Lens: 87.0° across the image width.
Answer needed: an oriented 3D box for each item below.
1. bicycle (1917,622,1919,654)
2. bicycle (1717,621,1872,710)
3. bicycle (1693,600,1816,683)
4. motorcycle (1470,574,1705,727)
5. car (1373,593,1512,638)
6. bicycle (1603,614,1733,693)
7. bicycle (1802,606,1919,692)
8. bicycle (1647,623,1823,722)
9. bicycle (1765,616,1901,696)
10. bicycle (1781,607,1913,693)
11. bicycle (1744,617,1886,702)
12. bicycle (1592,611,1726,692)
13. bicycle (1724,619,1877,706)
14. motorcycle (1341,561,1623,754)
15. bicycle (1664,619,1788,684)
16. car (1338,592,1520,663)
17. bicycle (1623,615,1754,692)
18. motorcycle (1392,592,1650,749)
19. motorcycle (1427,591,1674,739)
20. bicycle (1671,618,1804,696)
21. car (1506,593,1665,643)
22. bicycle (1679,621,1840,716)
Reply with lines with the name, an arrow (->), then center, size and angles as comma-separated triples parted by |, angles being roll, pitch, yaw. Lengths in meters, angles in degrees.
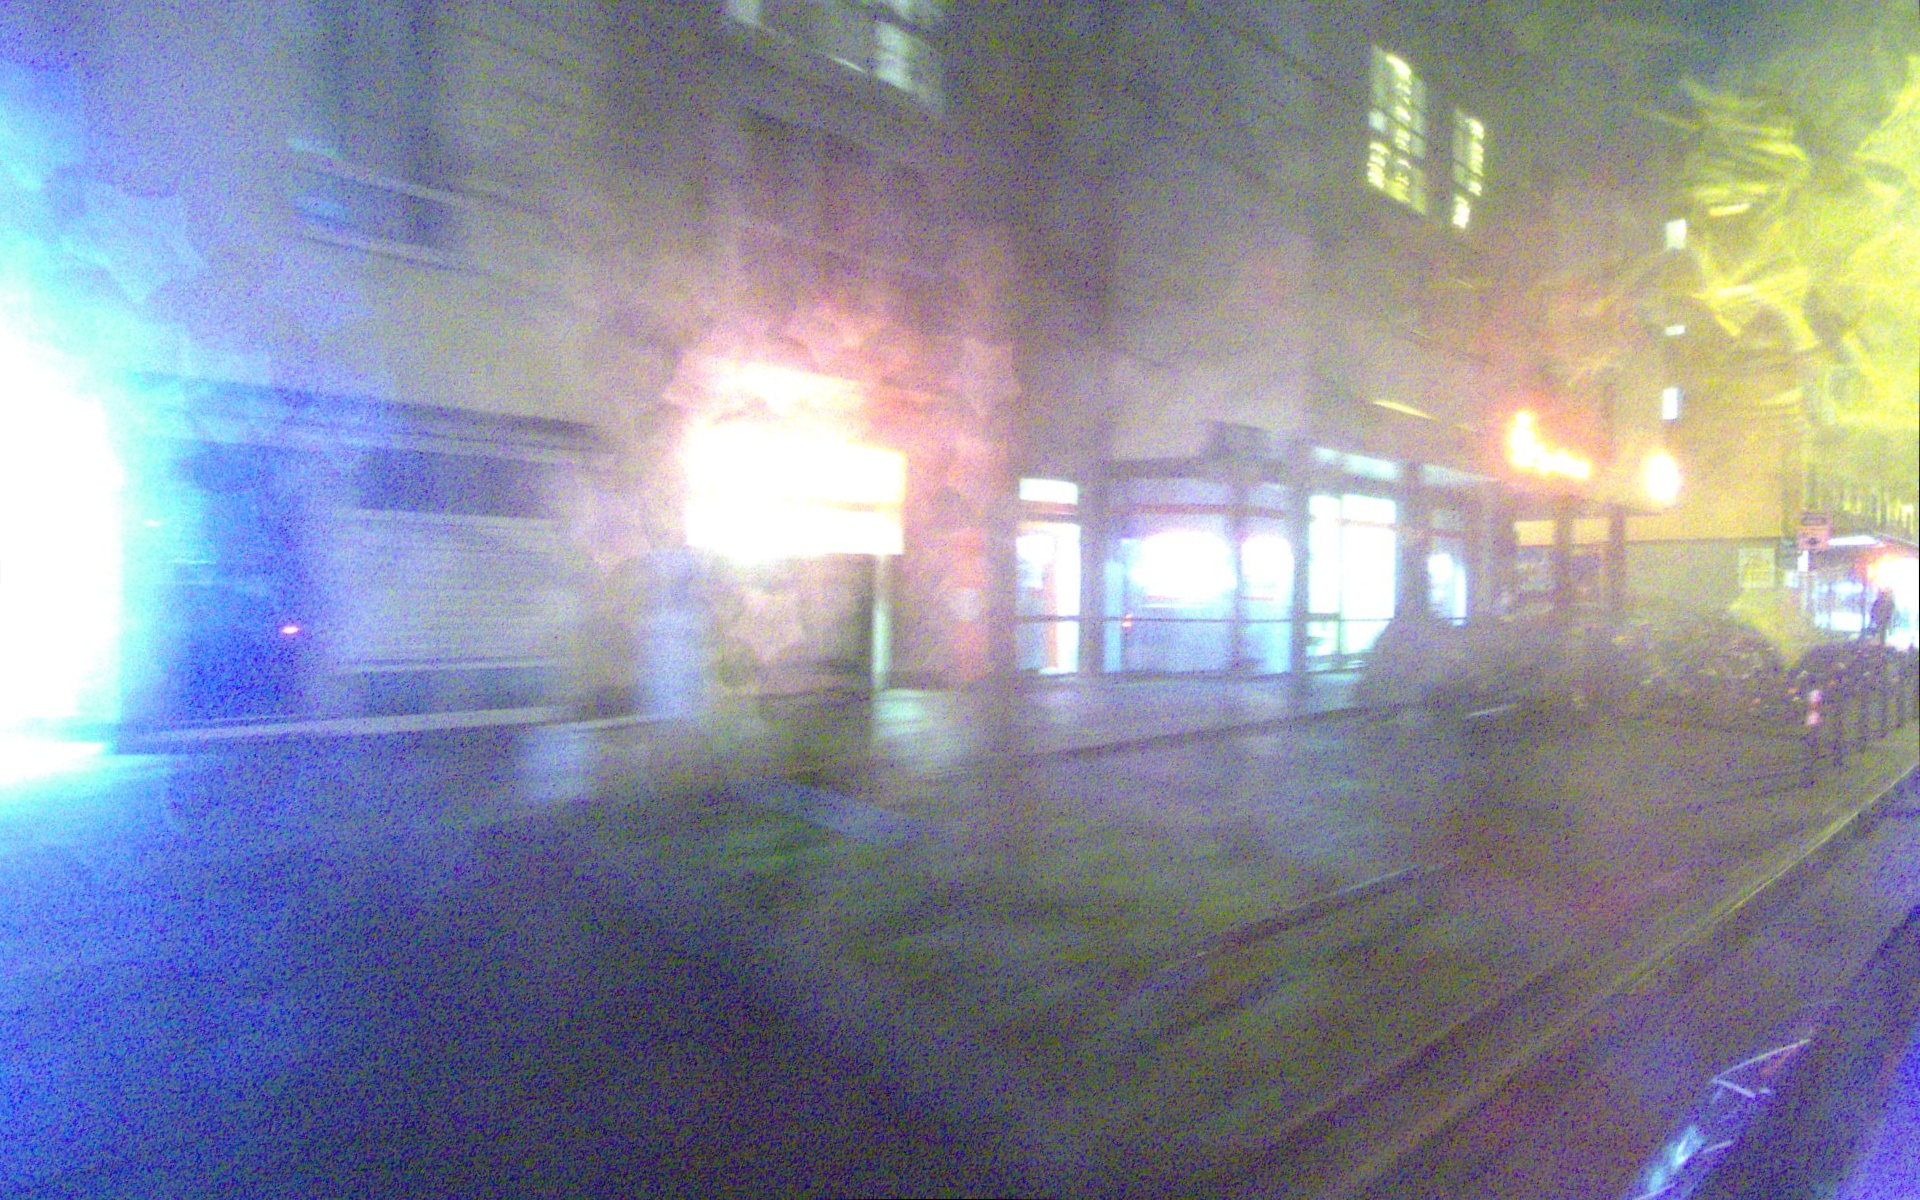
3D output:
bicycle -> 27.778, 1.110, 27.746 | 0.605, 0.905, 2.278 | 1, 1, -11
bicycle -> 11.469, 0.874, 13.950 | 0.360, 0.963, 1.531 | -1, 7, -44
bicycle -> 13.840, 0.704, 17.666 | 0.360, 1.216, 1.533 | 0, 7, -41
motorcycle -> 7.578, 0.540, 12.327 | 0.851, 1.566, 2.178 | 0, 5, -40
car -> 17.213, 0.554, 36.240 | 1.964, 1.527, 3.995 | 0, -1, -39
bicycle -> 10.885, 0.796, 15.599 | 0.360, 0.963, 1.531 | -1, 7, -44
bicycle -> 15.417, 0.809, 17.203 | 0.359, 1.216, 1.534 | 0, 6, -37
bicycle -> 9.825, 0.888, 12.903 | 0.359, 0.963, 1.678 | 1, 6, -33
bicycle -> 14.087, 0.880, 16.370 | 0.360, 1.035, 1.533 | 0, 7, -41
bicycle -> 14.938, 0.816, 17.086 | 0.360, 1.216, 1.533 | 0, 7, -41
bicycle -> 13.099, 0.886, 15.552 | 0.359, 1.035, 1.535 | 0, 6, -36
bicycle -> 10.419, 0.741, 15.126 | 0.360, 0.963, 1.531 | -1, 7, -44
bicycle -> 11.785, 0.856, 14.230 | 0.360, 0.963, 1.531 | -1, 7, -44
motorcycle -> 5.199, 0.486, 10.255 | 0.851, 1.607, 2.294 | 0, 5, -40
bicycle -> 12.664, 0.832, 16.770 | 0.319, 0.843, 1.535 | 0, 7, -36
car -> 12.725, 0.703, 27.663 | 1.809, 1.793, 4.154 | 1, -1, -39
bicycle -> 11.313, 0.808, 15.755 | 0.360, 0.963, 1.531 | -1, 7, -44
motorcycle -> 5.928, 0.671, 10.824 | 0.851, 1.334, 2.178 | 0, 5, -40
motorcycle -> 6.603, 0.660, 11.445 | 0.851, 1.334, 2.178 | 0, 5, -40
bicycle -> 12.207, 0.871, 15.936 | 0.359, 0.963, 1.535 | 0, 6, -36
car -> 20.199, 0.567, 32.817 | 1.861, 1.504, 3.996 | 1, -1, -39
bicycle -> 10.395, 0.865, 13.216 | 0.359, 0.963, 1.536 | 1, 6, -33
